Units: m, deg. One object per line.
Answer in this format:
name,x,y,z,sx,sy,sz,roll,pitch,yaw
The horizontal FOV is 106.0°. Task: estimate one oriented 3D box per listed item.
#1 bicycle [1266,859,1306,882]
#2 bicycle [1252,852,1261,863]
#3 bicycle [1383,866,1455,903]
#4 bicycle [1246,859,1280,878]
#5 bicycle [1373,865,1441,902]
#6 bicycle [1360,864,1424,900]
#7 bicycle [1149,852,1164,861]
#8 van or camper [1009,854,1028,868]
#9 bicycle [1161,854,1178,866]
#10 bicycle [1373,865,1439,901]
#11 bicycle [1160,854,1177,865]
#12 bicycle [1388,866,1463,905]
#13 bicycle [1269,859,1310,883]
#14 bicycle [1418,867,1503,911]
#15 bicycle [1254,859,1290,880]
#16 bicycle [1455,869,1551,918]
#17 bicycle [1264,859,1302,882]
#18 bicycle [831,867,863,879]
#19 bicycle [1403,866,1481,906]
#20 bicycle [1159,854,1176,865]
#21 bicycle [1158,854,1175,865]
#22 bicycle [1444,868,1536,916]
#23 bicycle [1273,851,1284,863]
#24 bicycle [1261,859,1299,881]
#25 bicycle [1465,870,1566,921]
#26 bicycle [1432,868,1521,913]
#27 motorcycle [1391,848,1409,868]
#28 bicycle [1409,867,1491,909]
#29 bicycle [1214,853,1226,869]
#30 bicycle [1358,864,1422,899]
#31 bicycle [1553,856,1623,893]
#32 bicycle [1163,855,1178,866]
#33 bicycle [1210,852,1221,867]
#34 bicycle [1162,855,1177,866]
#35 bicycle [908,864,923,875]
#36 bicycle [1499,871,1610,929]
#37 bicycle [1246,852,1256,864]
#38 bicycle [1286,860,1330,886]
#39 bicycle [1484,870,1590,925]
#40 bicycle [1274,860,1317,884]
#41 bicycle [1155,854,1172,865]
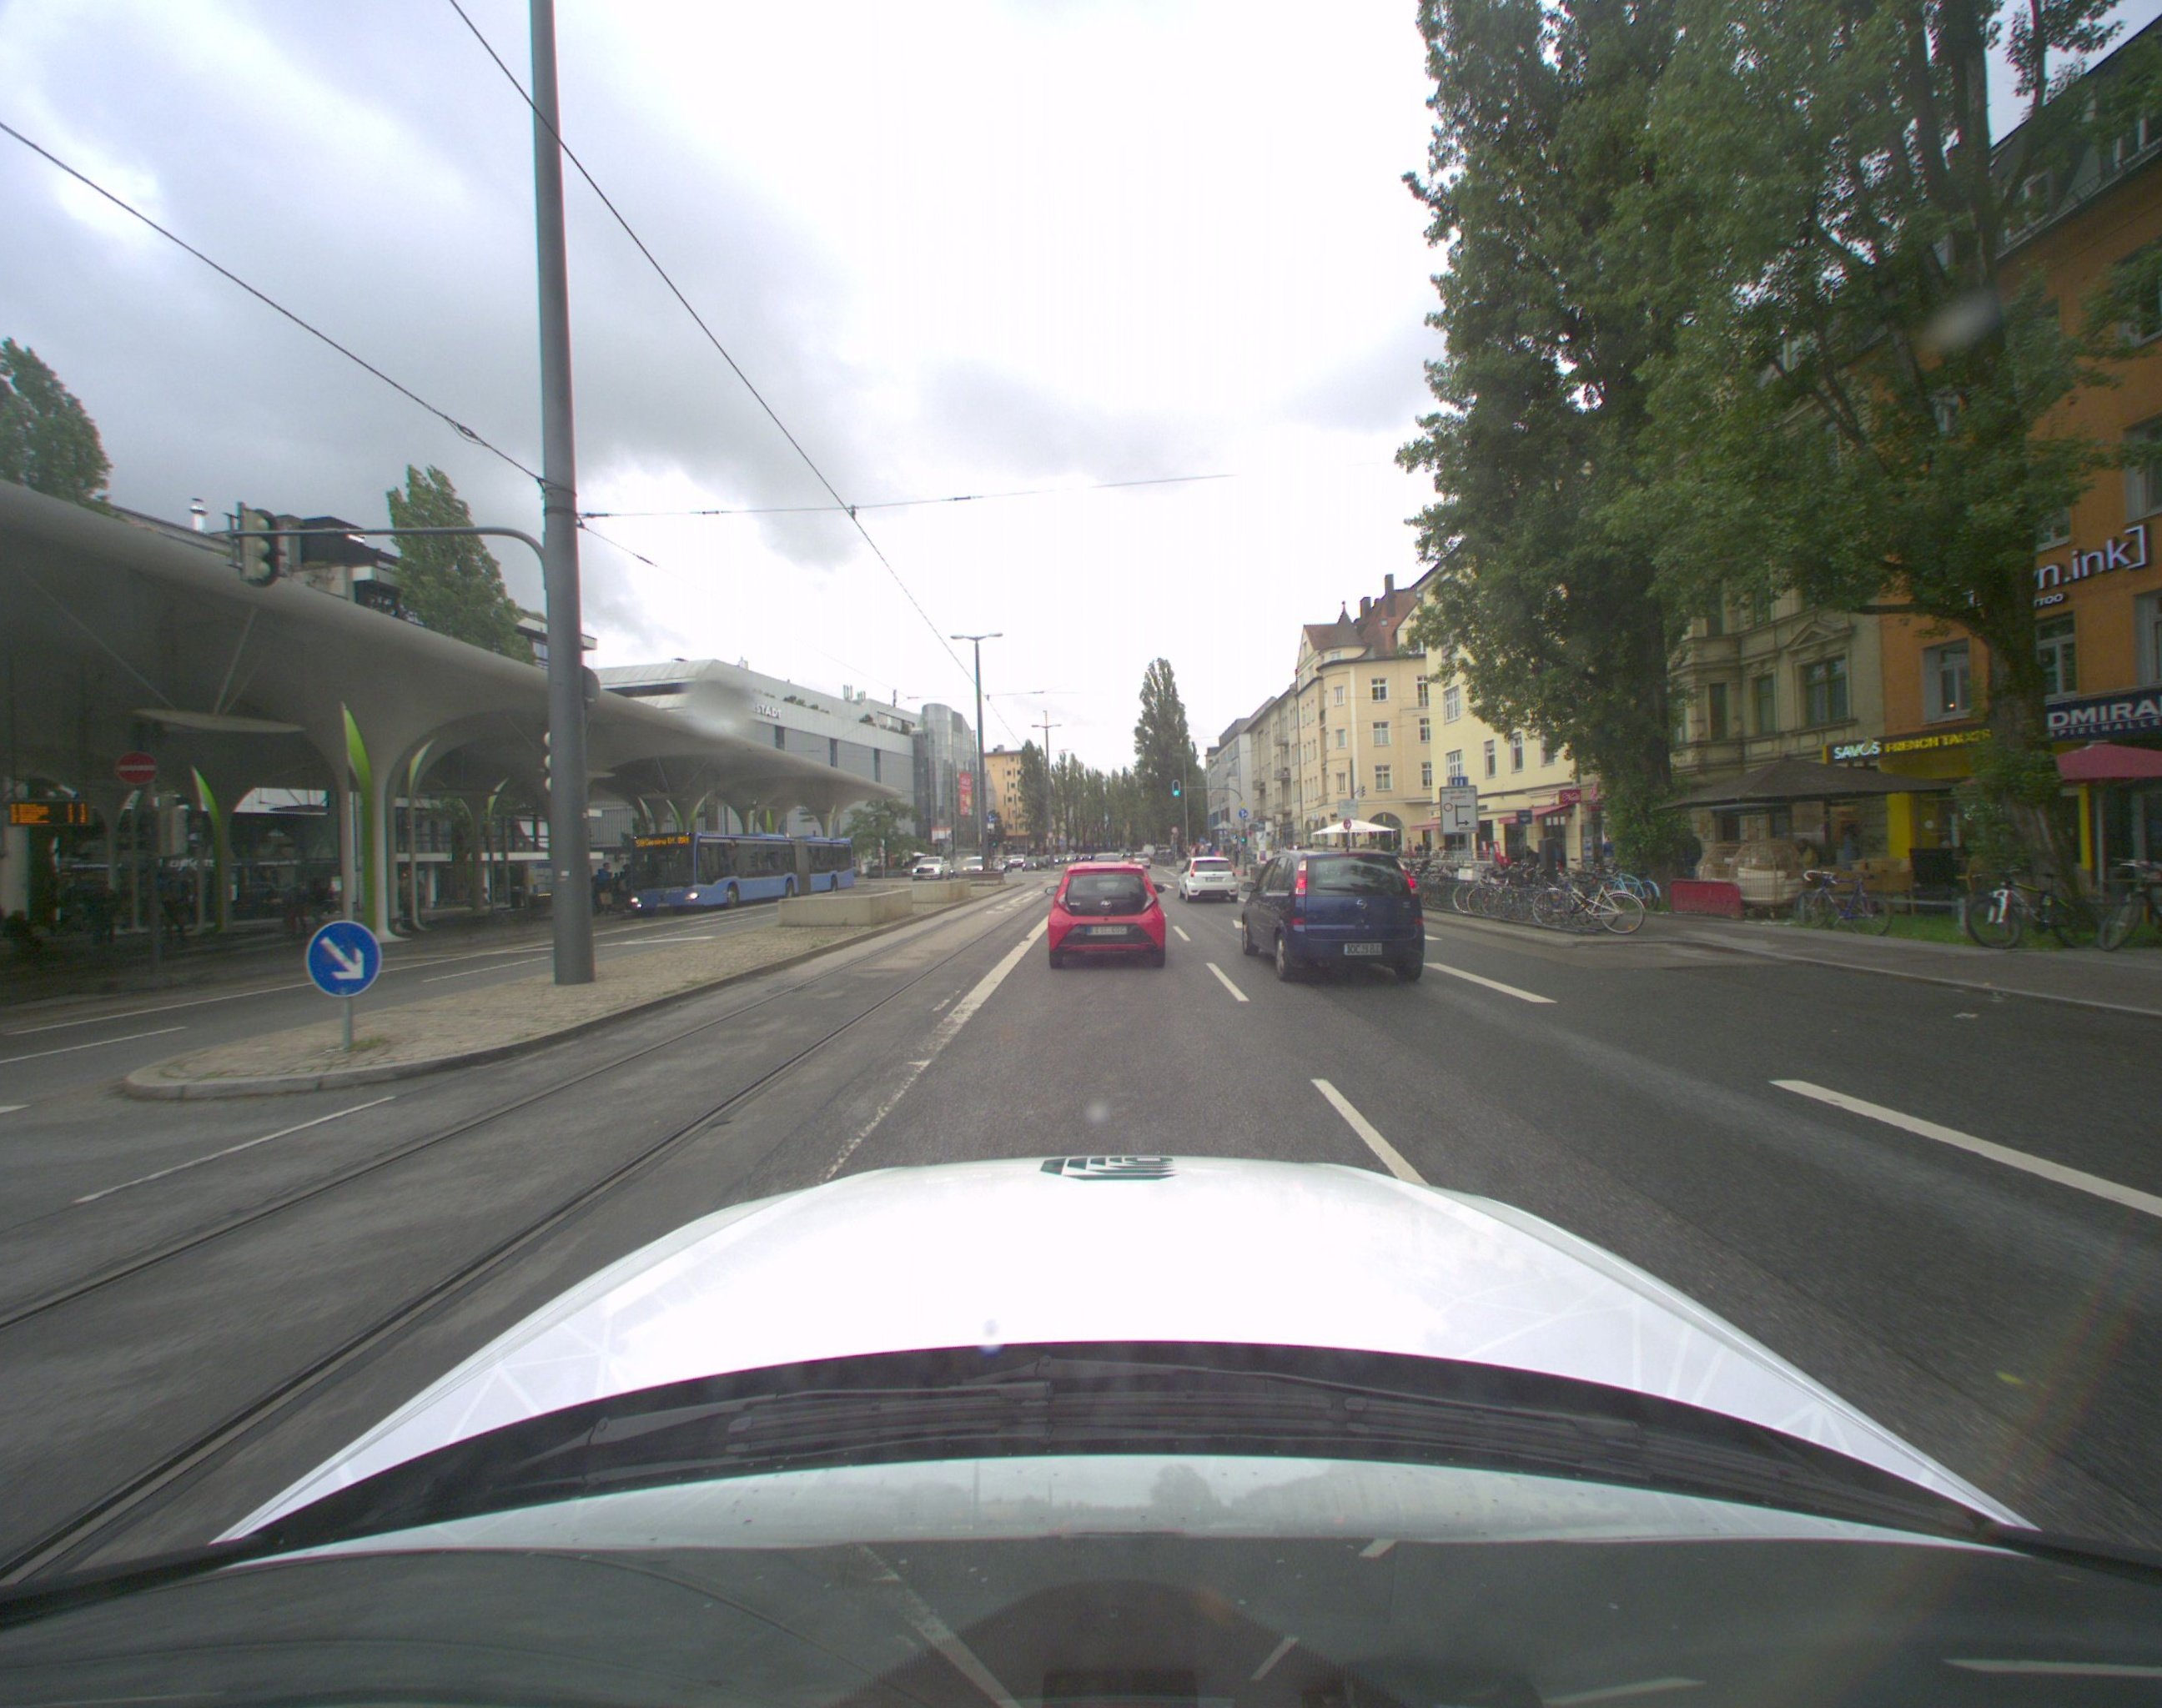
bicycle,9.561,0.787,38.038,0.350,0.996,1.819,-2,-1,-45
bicycle,16.243,0.344,75.402,0.492,0.975,1.867,-2,0,2
bicycle,9.331,0.828,22.524,1.818,0.995,0.327,-1,1,34
bicycle,9.769,0.788,43.720,0.350,0.996,1.819,-2,-1,-43
bicycle,9.258,0.827,23.177,1.819,0.995,0.327,0,2,44
bicycle,9.213,0.825,24.206,0.327,0.995,1.820,-2,2,-41
bicycle,9.552,0.289,102.807,1.815,1.136,0.590,-2,0,45
van or camper,-8.704,0.926,113.954,1.920,1.826,5.445,-2,0,3
bicycle,9.300,0.587,85.404,0.562,1.198,1.782,-2,0,-45
bicycle,9.401,0.825,23.612,0.327,0.995,1.820,-2,2,-41
bicycle,9.297,0.577,86.798,1.782,1.158,0.551,-2,0,40
bicycle,9.246,0.830,21.900,1.818,0.995,0.327,0,1,39
bicycle,9.541,0.789,37.351,1.818,0.996,0.350,-3,-1,42
bicycle,9.164,0.836,19.716,1.818,0.995,0.378,0,1,39
bicycle,9.731,0.793,41.563,0.350,0.996,1.819,-2,-1,-43
bicycle,9.155,0.840,17.717,1.818,0.995,0.378,0,1,40
bicycle,9.585,0.786,38.703,0.350,0.996,1.819,-2,-1,-45
bicycle,-27.408,2.238,95.508,3.468,1.156,1.064,-2,0,14
bicycle,9.399,0.828,21.207,1.819,0.995,0.377,-1,1,26
bicycle,9.371,0.575,88.290,1.782,1.158,0.490,-2,0,28
bicycle,9.330,0.596,88.953,1.781,1.158,0.490,-2,0,31
bicycle,9.183,0.839,18.340,0.377,0.995,1.819,-2,2,-44
bicycle,18.226,0.236,75.246,0.493,1.059,1.865,-2,0,-2
bicycle,9.599,0.784,39.420,0.350,0.996,1.819,-2,-1,-45
bicycle,9.070,0.842,17.037,1.819,0.995,0.377,0,2,44
bicycle,9.250,0.837,19.076,1.818,0.995,0.378,0,1,39
motorcycle,18.866,0.256,48.206,0.484,1.156,1.572,-2,0,3
bicycle,9.248,0.834,20.461,1.818,0.995,0.378,0,1,39
bicycle,11.366,0.570,66.585,0.611,1.265,2.521,-2,0,3
bicycle,9.339,0.823,24.645,1.819,0.995,0.327,0,2,44
bicycle,14.947,0.607,24.020,1.710,1.045,0.389,-1,1,12
bicycle,9.238,0.681,83.888,0.502,1.028,1.582,-2,0,-40
bicycle,11.882,0.496,72.165,0.611,1.265,2.521,-2,0,3
bicycle,9.196,0.677,84.746,0.502,1.028,1.582,-2,0,-40
bicycle,-17.995,1.694,88.654,1.566,1.112,0.374,-2,0,5
bicycle,9.031,0.845,15.593,0.377,0.995,1.821,-2,1,-37
bicycle,15.745,0.345,75.435,0.564,1.107,1.867,-2,0,2
bicycle,9.429,0.797,33.886,0.350,0.996,1.819,-2,-1,-44
bicycle,9.081,0.843,16.287,0.377,0.995,1.820,-2,2,-43
bicycle,9.458,0.792,36.014,1.818,0.996,0.350,-3,-1,42
bicycle,9.245,0.601,90.989,1.781,1.158,0.656,-2,0,38
